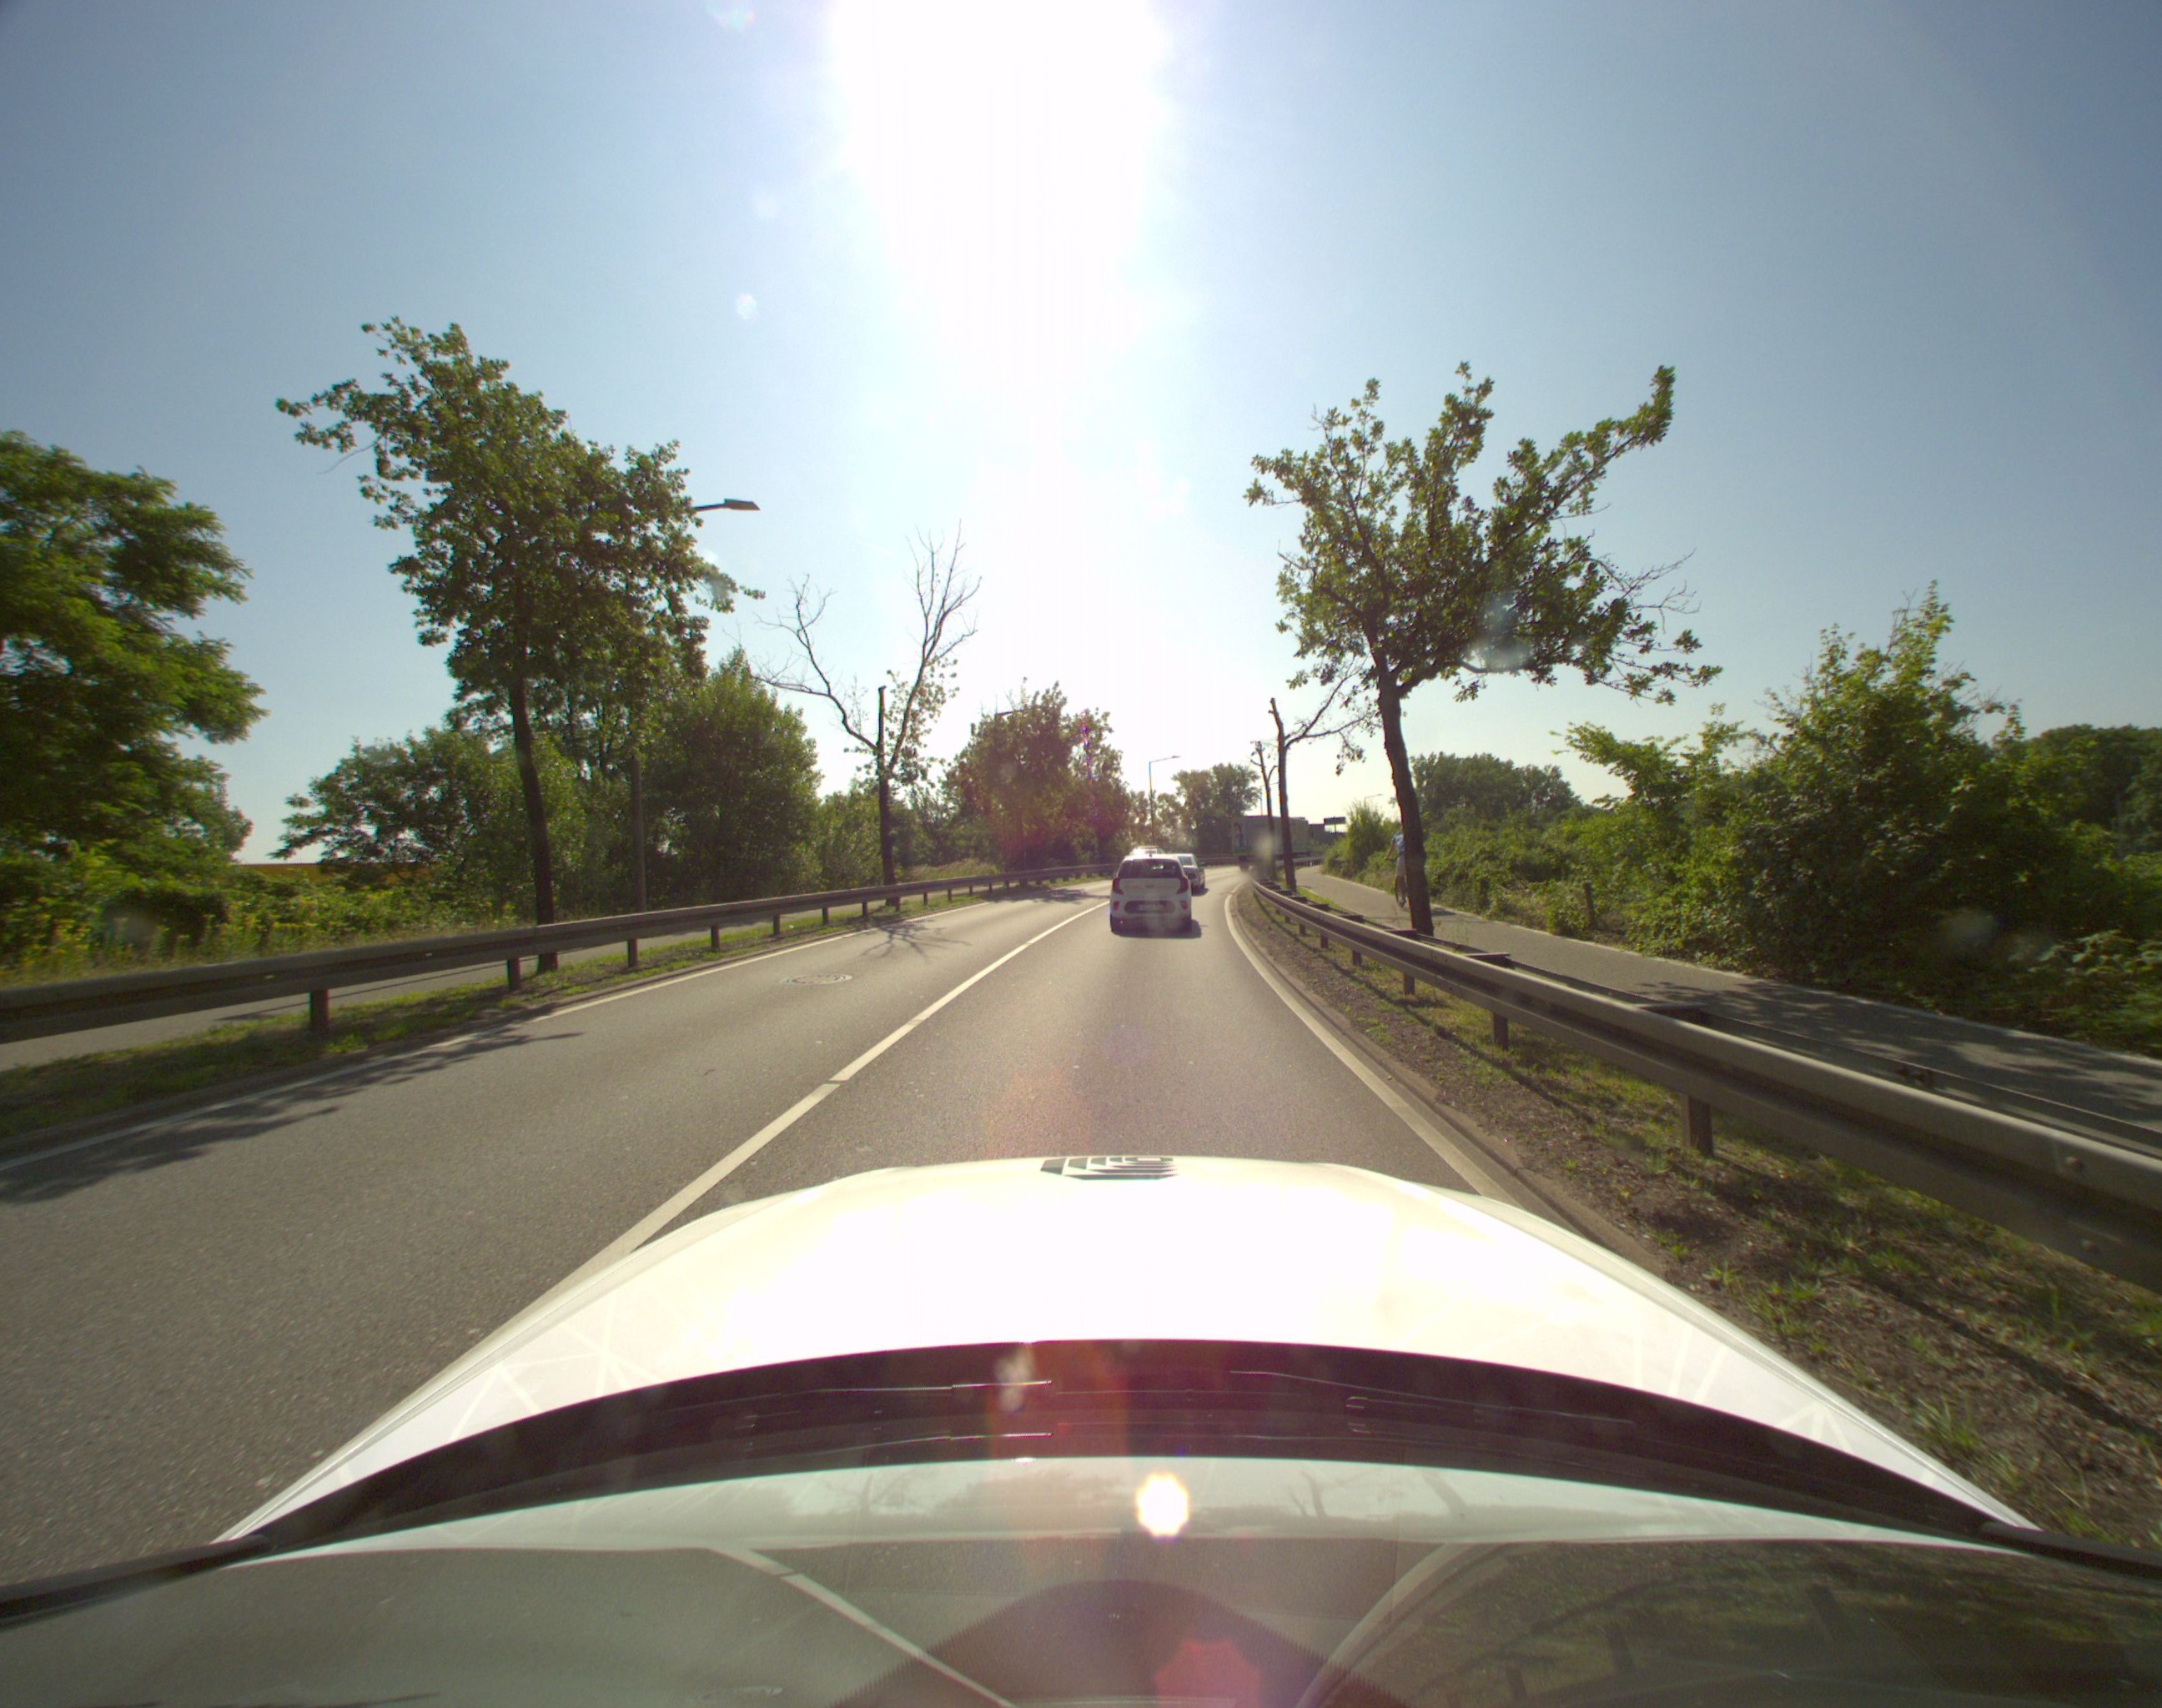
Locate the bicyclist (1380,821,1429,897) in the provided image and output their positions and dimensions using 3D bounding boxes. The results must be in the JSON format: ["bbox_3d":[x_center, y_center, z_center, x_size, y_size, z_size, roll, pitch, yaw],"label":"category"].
[{"bbox_3d":[6.858,0.118,17.273,0.655,1.520,0.804,-5,-2,6],"label":"bicyclist"}]

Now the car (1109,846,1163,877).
[{"bbox_3d":[2.883,0.361,42.050,1.915,1.533,4.135,-1,0,16],"label":"car"}]

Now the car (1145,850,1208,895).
[{"bbox_3d":[3.609,0.613,30.026,1.926,1.486,4.915,-1,0,11],"label":"car"}]

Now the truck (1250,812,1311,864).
[{"bbox_3d":[15.782,-1.320,63.833,3.231,3.757,8.419,0,2,24],"label":"truck"}]

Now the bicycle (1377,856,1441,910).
[{"bbox_3d":[6.865,0.603,17.141,0.698,1.020,1.849,-5,-2,6],"label":"bicycle"}]

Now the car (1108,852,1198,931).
[{"bbox_3d":[1.518,0.709,17.437,1.694,1.494,4.005,0,0,4],"label":"car"}]

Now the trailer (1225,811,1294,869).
[{"bbox_3d":[12.517,-1.049,56.528,3.195,3.757,7.870,0,2,24],"label":"trailer"}]
